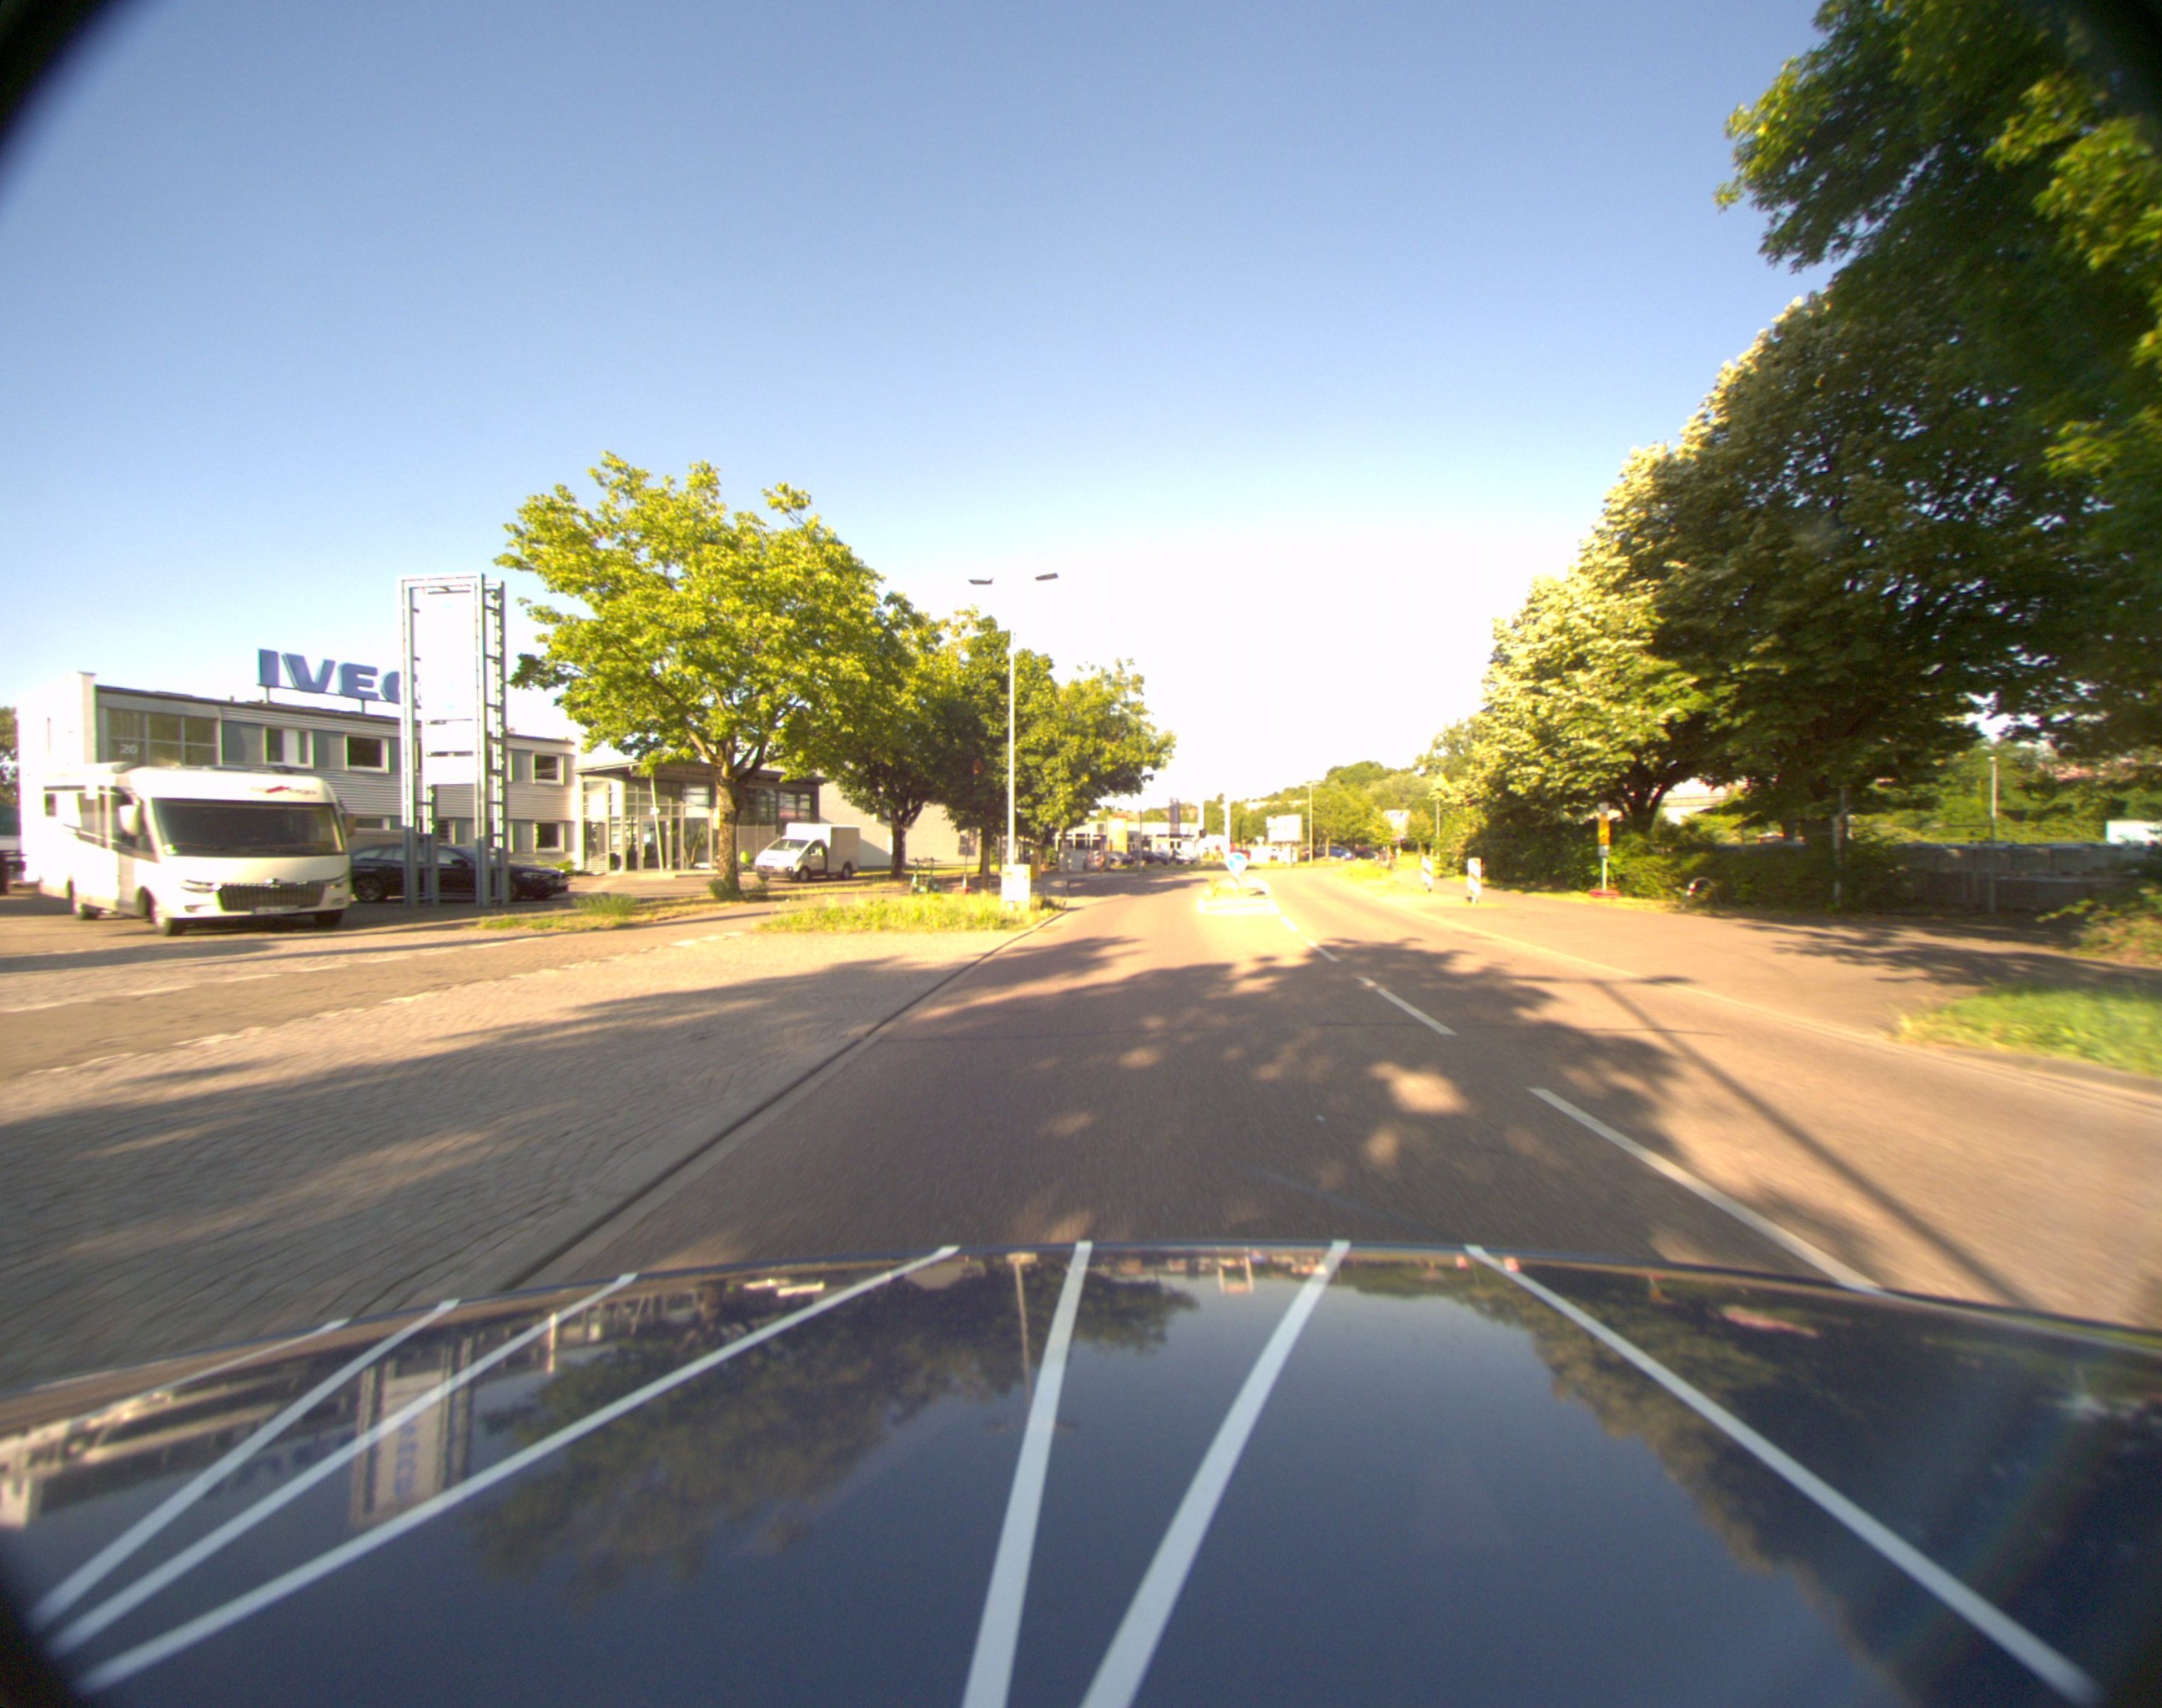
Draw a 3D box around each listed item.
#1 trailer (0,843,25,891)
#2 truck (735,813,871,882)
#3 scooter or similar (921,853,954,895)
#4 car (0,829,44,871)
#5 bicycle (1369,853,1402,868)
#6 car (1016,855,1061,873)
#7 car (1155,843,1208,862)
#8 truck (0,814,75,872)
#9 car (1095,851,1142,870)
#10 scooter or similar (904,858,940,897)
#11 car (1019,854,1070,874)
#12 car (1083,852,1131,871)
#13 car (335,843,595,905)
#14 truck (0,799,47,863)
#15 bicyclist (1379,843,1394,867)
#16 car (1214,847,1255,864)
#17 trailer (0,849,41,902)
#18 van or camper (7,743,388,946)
[{"bbox_3d":[-34.082,0.387,22.345,2.251,1.440,3.263,1,1,29],"label":"trailer"},{"bbox_3d":[-11.728,-0.256,32.710,2.542,2.704,5.979,0,0,14],"label":"truck"},{"bbox_3d":[-4.811,0.652,25.567,0.547,1.328,1.483,1,1,12],"label":"scooter or similar"},{"bbox_3d":[-52.777,-0.196,36.006,2.386,2.002,4.008,1,1,29],"label":"car"},{"bbox_3d":[22.036,0.482,55.049,2.158,1.094,0.926,0,0,19],"label":"bicycle"},{"bbox_3d":[-4.817,1.094,85.523,4.832,2.002,2.305,0,0,41],"label":"car"},{"bbox_3d":[11.118,-0.173,84.404,5.275,2.002,2.410,0,0,37],"label":"car"},{"bbox_3d":[-54.898,-0.548,36.852,1.994,2.889,7.127,1,1,29],"label":"truck"},{"bbox_3d":[4.259,0.716,86.478,4.833,2.002,2.305,0,0,37],"label":"car"},{"bbox_3d":[-5.019,0.723,24.046,0.547,1.189,1.483,0,0,12],"label":"scooter or similar"},{"bbox_3d":[-3.804,1.037,78.769,4.833,2.002,2.305,0,0,36],"label":"car"},{"bbox_3d":[2.897,0.774,83.773,4.833,2.002,2.305,0,0,37],"label":"car"},{"bbox_3d":[-15.670,0.484,19.634,4.815,1.483,1.998,0,1,-11],"label":"car"},{"bbox_3d":[-58.029,-1.200,38.087,1.994,3.331,7.127,1,1,29],"label":"truck"},{"bbox_3d":[22.204,0.046,55.161,0.953,1.742,0.913,0,1,20],"label":"bicyclist"},{"bbox_3d":[19.528,0.186,96.996,2.304,2.002,4.833,0,0,-37],"label":"car"},{"bbox_3d":[-30.180,0.540,19.971,5.637,1.314,2.560,1,1,28],"label":"trailer"},{"bbox_3d":[-16.440,-0.174,14.009,7.989,2.883,2.948,1,1,29],"label":"van or camper"}]
